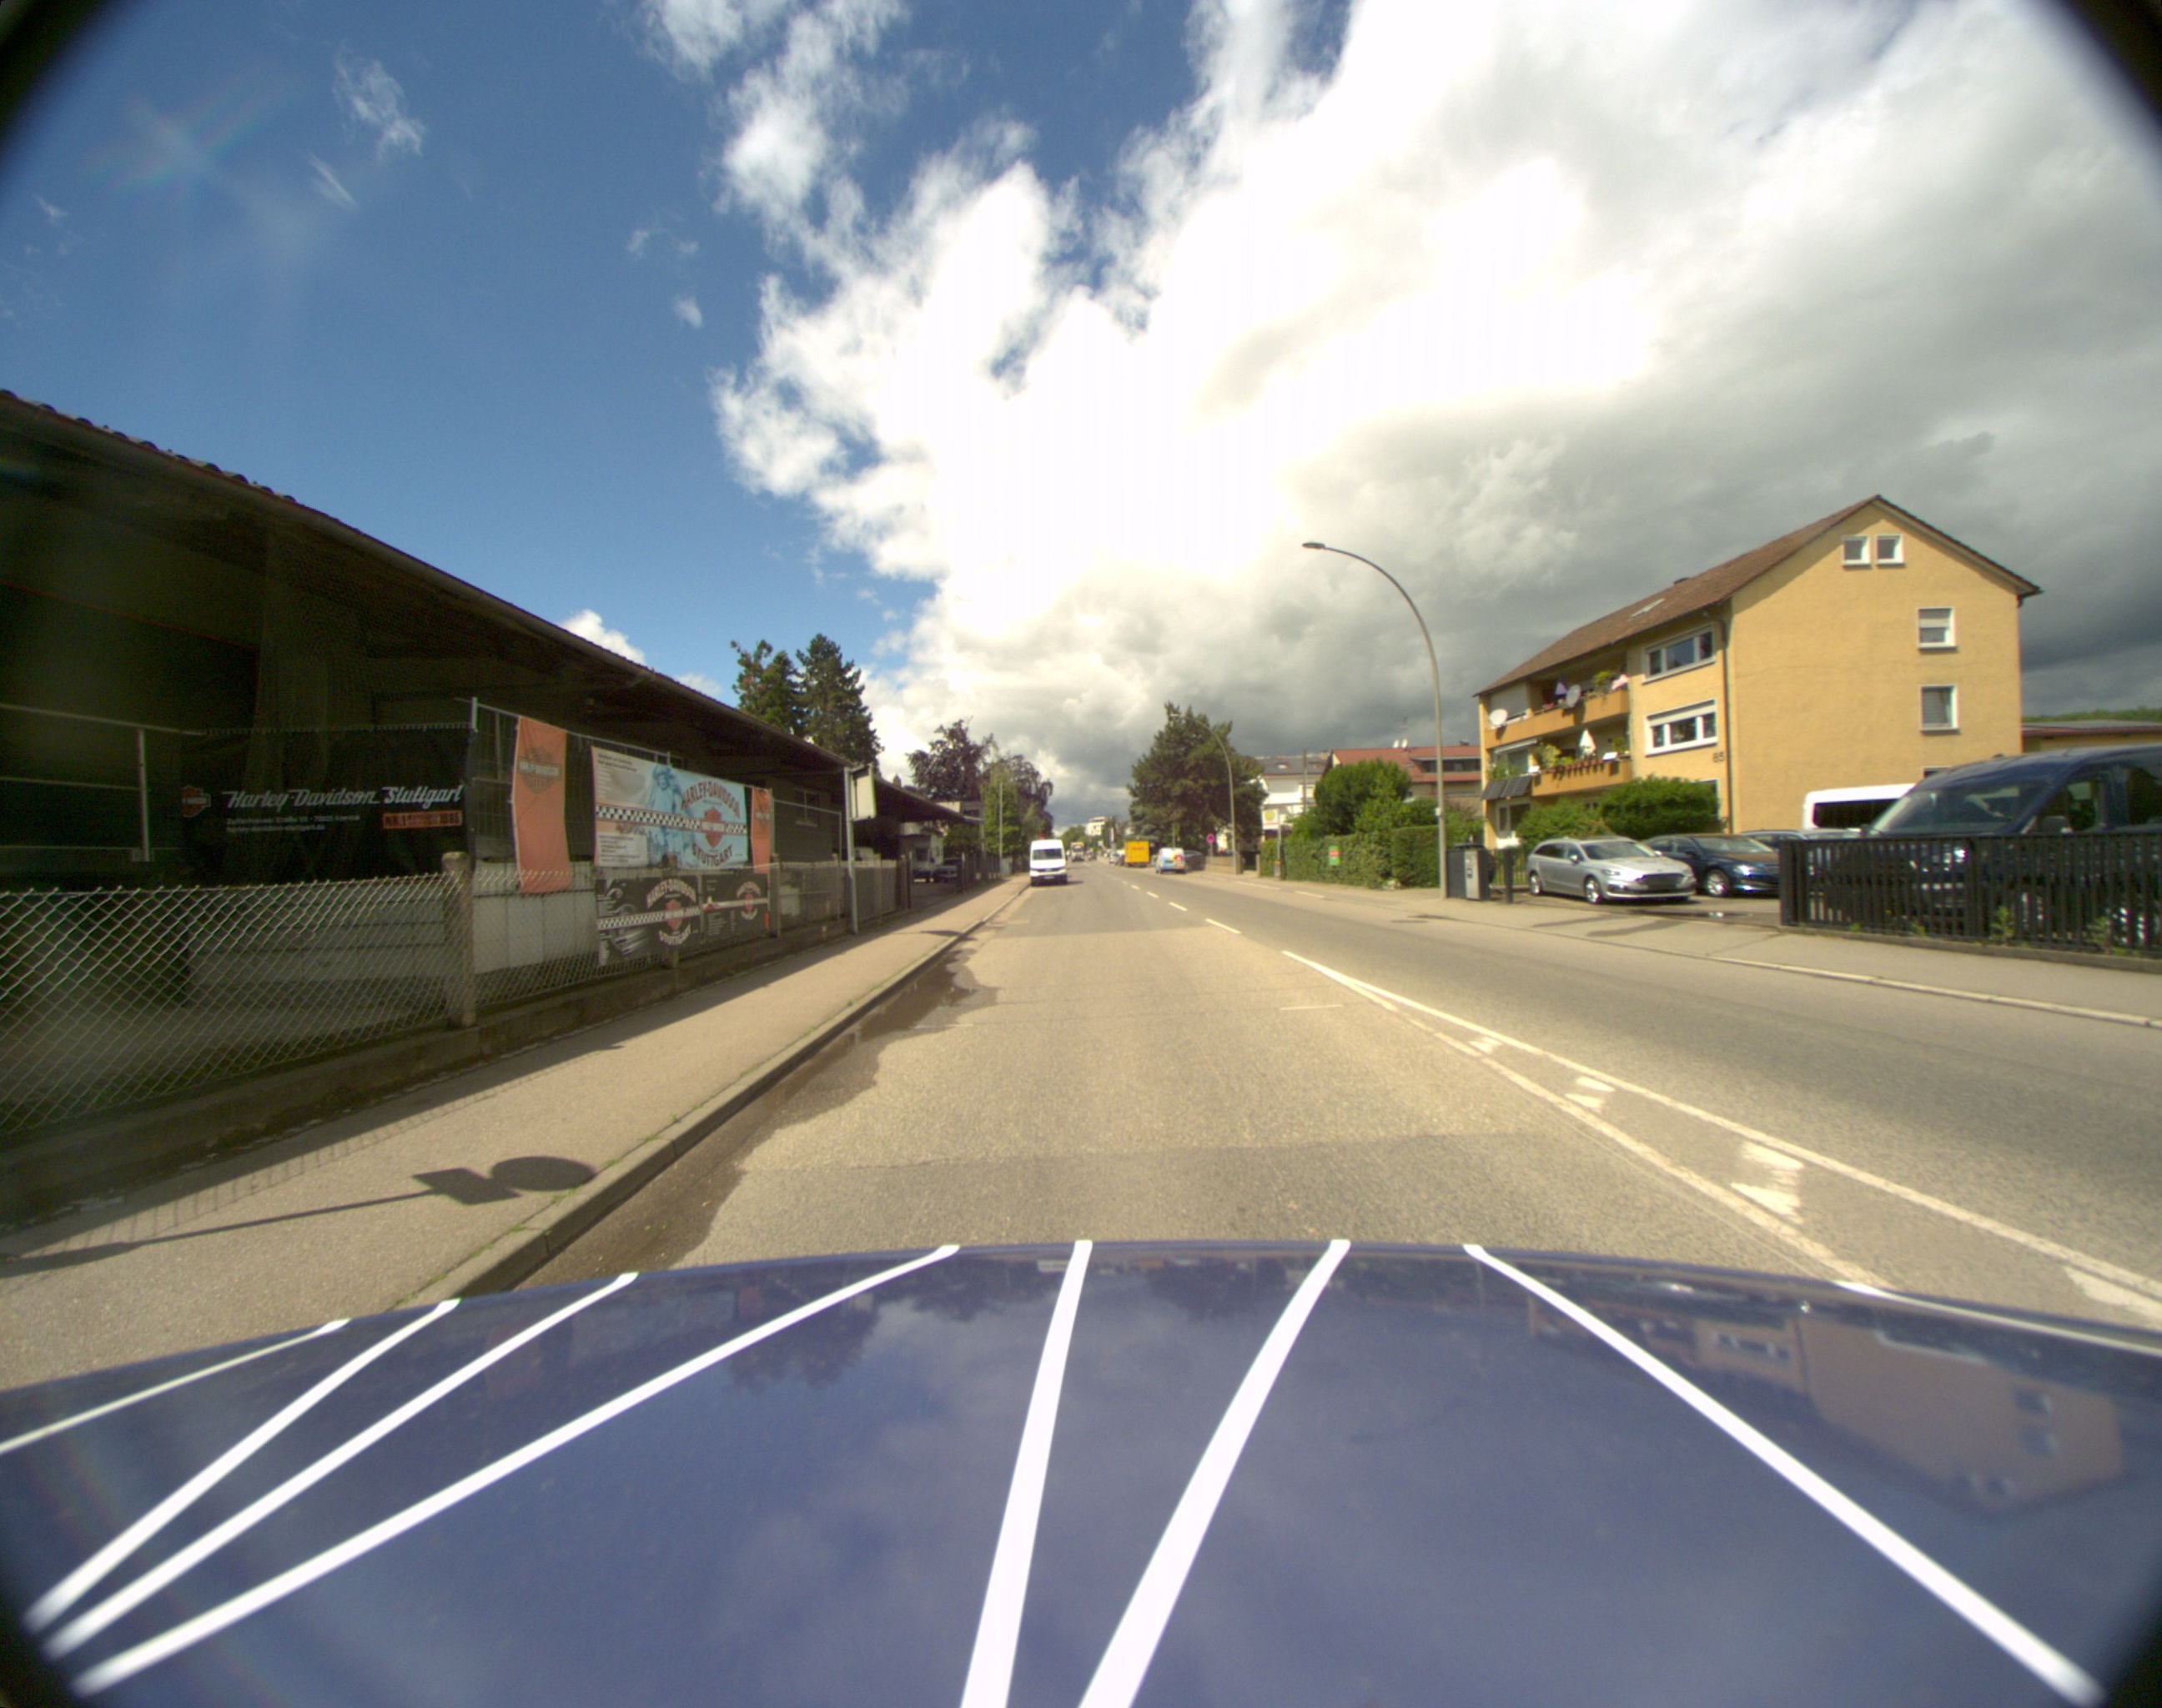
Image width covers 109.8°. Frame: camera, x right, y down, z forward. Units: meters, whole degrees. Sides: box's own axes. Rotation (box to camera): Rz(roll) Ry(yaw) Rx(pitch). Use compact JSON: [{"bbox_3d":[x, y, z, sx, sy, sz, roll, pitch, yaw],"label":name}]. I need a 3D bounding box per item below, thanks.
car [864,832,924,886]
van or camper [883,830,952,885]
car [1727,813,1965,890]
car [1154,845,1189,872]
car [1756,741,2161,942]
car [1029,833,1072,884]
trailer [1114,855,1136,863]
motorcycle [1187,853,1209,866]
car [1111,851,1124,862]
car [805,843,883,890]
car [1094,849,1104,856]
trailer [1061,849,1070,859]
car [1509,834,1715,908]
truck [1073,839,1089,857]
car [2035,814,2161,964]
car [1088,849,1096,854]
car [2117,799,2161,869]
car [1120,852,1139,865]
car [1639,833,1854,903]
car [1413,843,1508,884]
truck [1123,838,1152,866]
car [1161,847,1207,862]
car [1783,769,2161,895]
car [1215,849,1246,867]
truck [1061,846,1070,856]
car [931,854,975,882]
[{"bbox_3d":[-9.970,0.295,40.909,2.023,2.665,5.497,-2,-1,-2],"label":"car"},{"bbox_3d":[-9.934,0.184,46.933,2.889,3.043,6.911,-2,0,-2],"label":"van or camper"},{"bbox_3d":[17.848,-0.066,18.076,1.848,1.568,4.334,-1,0,11],"label":"car"},{"bbox_3d":[6.558,0.325,55.566,1.838,1.842,4.895,1,-1,-1],"label":"car"},{"bbox_3d":[13.823,-0.204,10.929,6.053,2.482,2.477,-2,0,-1],"label":"car"},{"bbox_3d":[-1.722,0.215,43.773,2.221,2.673,6.656,-1,0,-2],"label":"car"},{"bbox_3d":[5.713,0.646,99.589,2.324,0.985,7.457,0,0,-1],"label":"trailer"},{"bbox_3d":[10.552,0.506,68.479,1.872,1.159,0.825,-2,0,16],"label":"motorcycle"},{"bbox_3d":[5.569,0.435,117.265,1.809,1.666,4.127,0,0,-1],"label":"car"},{"bbox_3d":[-10.491,0.541,34.048,1.999,1.898,4.852,-2,0,-1],"label":"car"},{"bbox_3d":[3.893,-0.403,167.078,1.906,1.509,4.317,-1,0,-2],"label":"car"},{"bbox_3d":[-3.620,-0.097,177.289,2.045,2.214,5.078,-1,0,0],"label":"trailer"},{"bbox_3d":[12.447,0.340,18.351,1.997,1.477,5.344,-2,0,10],"label":"car"},{"bbox_3d":[0.012,-1.242,153.482,2.880,3.290,8.605,-4,1,-1],"label":"truck"},{"bbox_3d":[12.501,0.348,6.968,2.037,1.585,4.283,-2,0,-4],"label":"car"},{"bbox_3d":[3.322,-0.708,230.800,1.987,1.412,3.998,-1,0,-3],"label":"car"},{"bbox_3d":[28.634,-0.528,18.166,1.849,1.781,4.330,-2,0,0],"label":"car"},{"bbox_3d":[5.933,0.551,93.276,1.999,1.445,4.811,2,0,-1],"label":"car"},{"bbox_3d":[15.330,0.283,17.874,1.848,1.418,4.334,-1,0,11],"label":"car"},{"bbox_3d":[14.257,0.317,28.846,1.848,1.418,4.332,-1,0,7],"label":"car"},{"bbox_3d":[6.289,-0.217,85.569,2.330,2.986,7.816,0,0,-2],"label":"truck"},{"bbox_3d":[11.906,0.090,87.999,5.021,1.543,1.972,-2,1,-2],"label":"car"},{"bbox_3d":[20.565,-0.446,17.939,2.418,2.481,6.135,0,0,2],"label":"car"},{"bbox_3d":[13.665,0.345,69.668,1.772,1.534,4.086,-2,0,-5],"label":"car"},{"bbox_3d":[-4.659,-1.001,228.892,2.411,2.722,6.639,-4,1,-1],"label":"truck"},{"bbox_3d":[-7.472,0.799,44.759,1.769,1.480,4.926,-2,0,-1],"label":"car"}]
